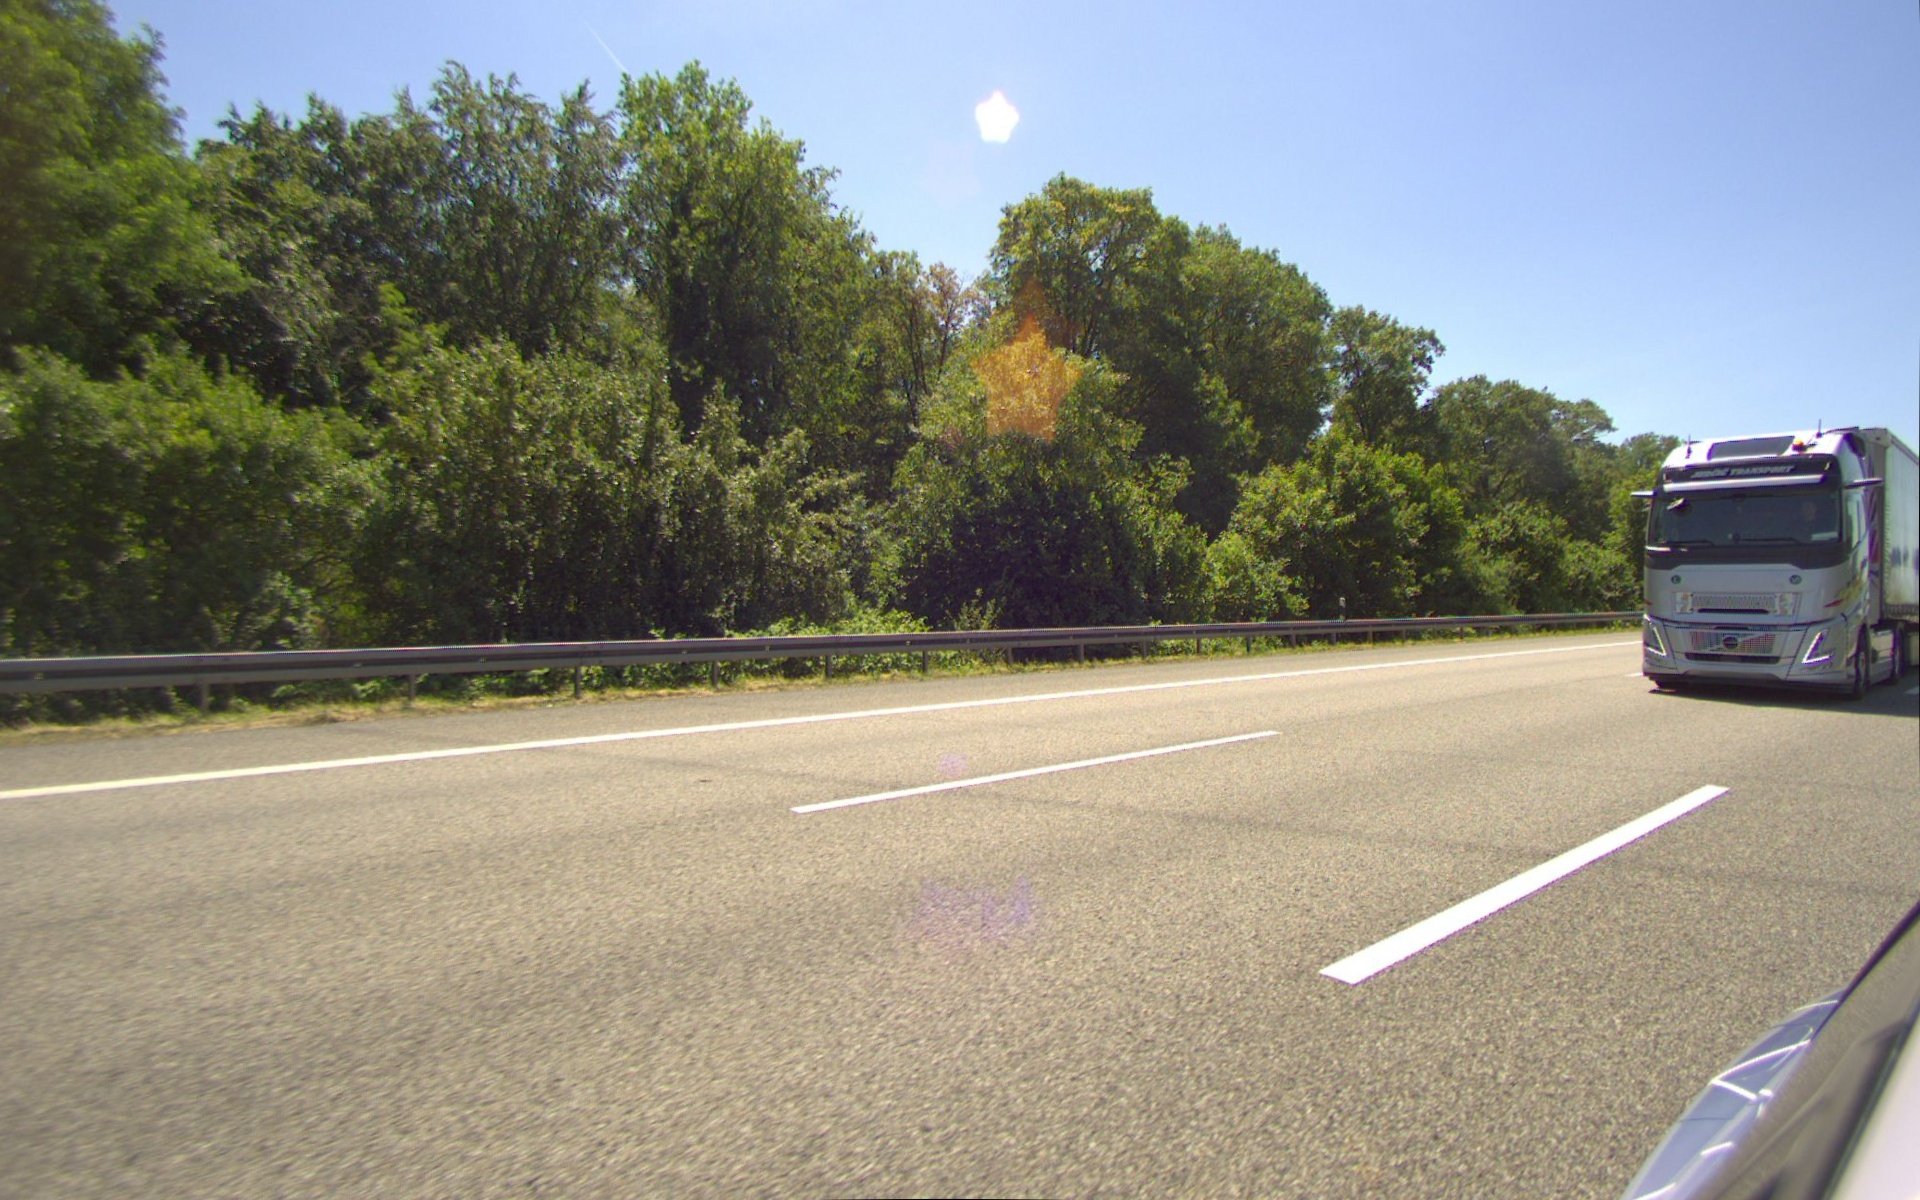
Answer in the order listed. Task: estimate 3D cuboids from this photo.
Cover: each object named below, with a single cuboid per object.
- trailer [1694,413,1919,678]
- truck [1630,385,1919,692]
[{"bbox_3d":[18.669,-0.889,20.826,13.414,4.025,2.745,-1,0,-41],"label":"trailer"},{"bbox_3d":[13.457,-0.838,16.377,6.387,4.025,2.728,0,0,-40],"label":"truck"}]
